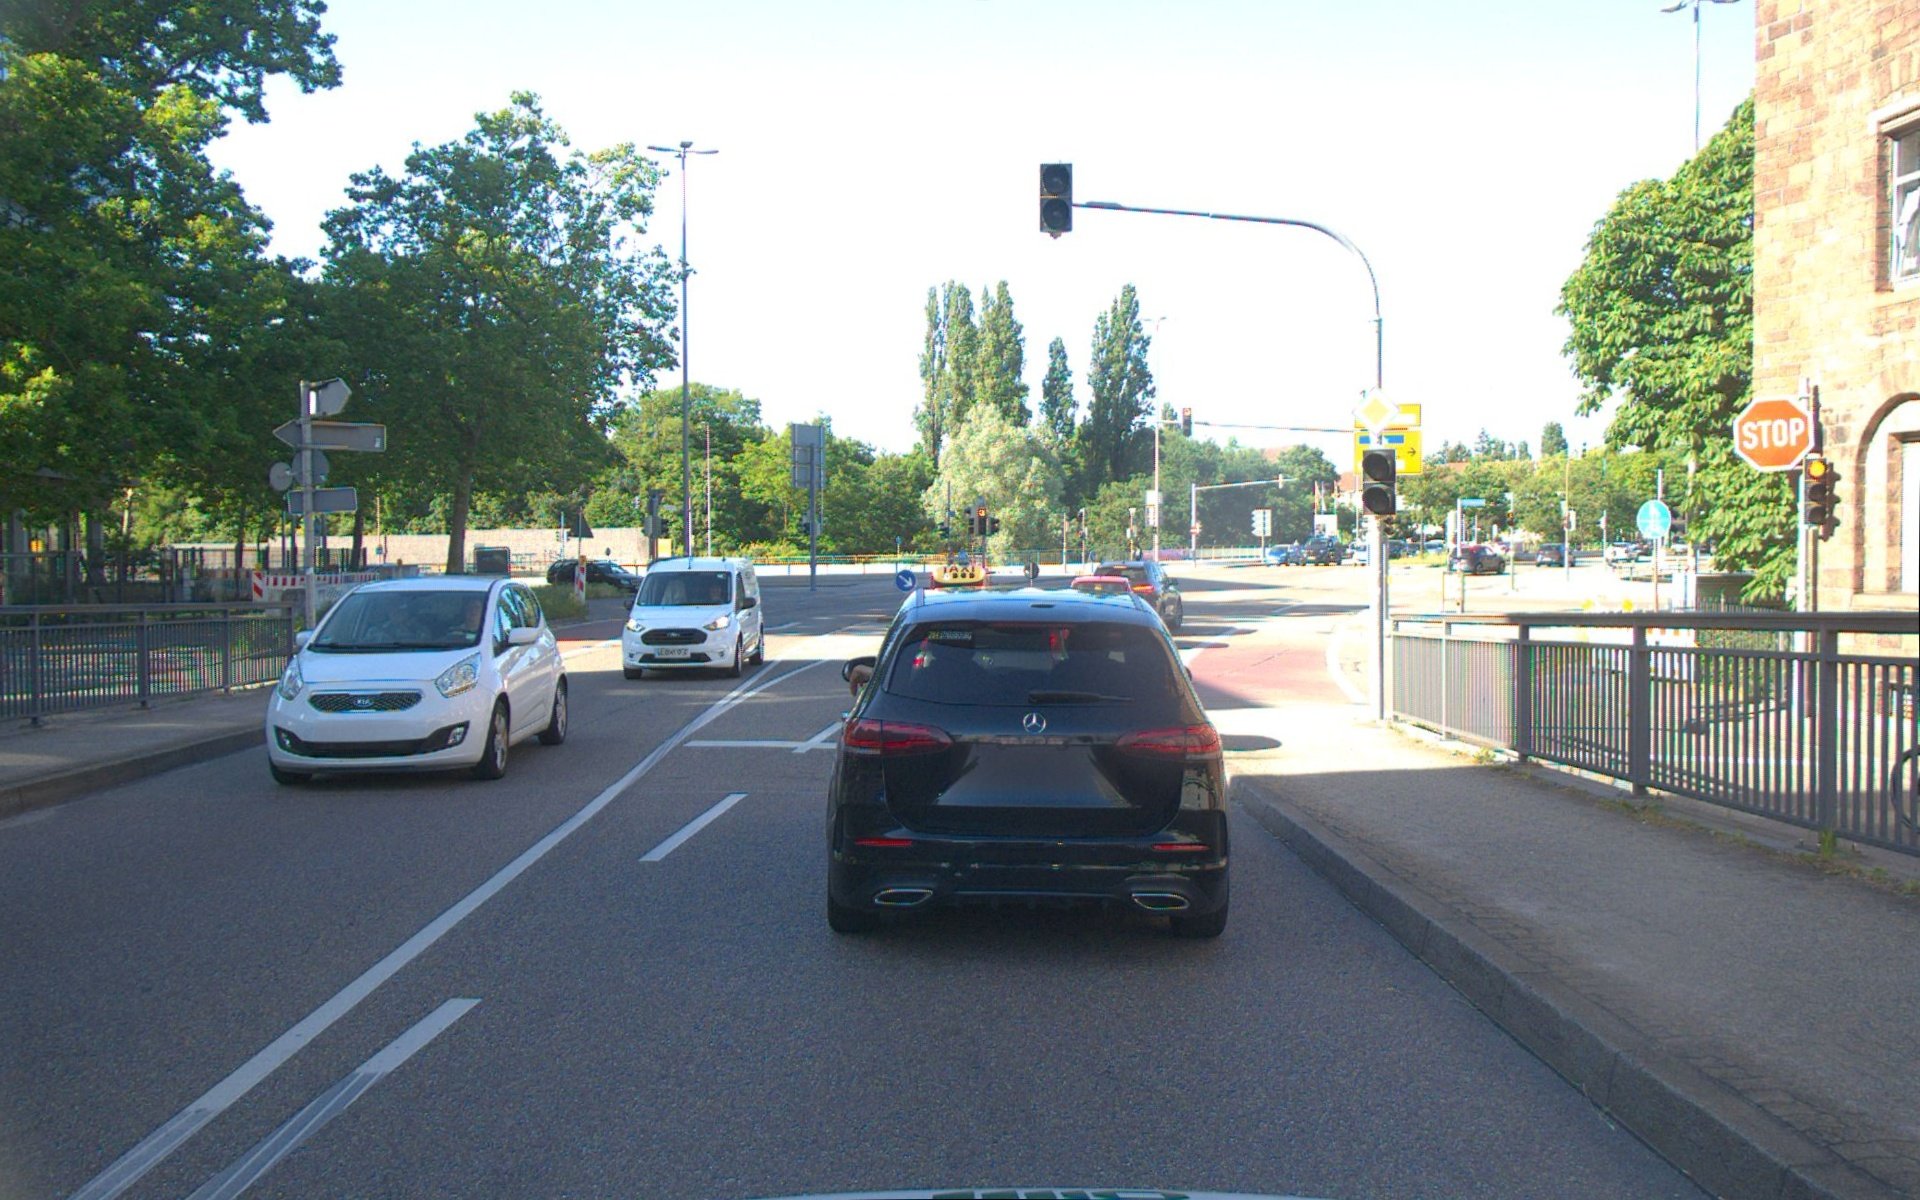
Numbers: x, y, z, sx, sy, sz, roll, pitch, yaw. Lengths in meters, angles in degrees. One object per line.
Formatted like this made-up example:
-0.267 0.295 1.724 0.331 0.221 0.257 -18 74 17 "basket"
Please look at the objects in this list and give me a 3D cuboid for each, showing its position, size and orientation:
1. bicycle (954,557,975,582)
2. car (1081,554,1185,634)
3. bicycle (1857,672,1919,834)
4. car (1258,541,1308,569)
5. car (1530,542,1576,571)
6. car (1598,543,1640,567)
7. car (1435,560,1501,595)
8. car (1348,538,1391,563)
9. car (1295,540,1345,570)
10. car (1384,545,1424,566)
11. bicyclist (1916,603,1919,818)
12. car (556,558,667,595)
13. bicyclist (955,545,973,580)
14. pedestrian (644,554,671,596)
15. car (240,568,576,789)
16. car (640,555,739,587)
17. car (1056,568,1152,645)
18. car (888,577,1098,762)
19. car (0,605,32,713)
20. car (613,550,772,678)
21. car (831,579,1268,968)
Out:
0.230 -1.550 83.885 0.672 1.223 2.330 -1 2 10 "bicycle"
4.410 -0.217 41.652 1.829 1.821 4.418 2 2 16 "car"
7.463 1.170 11.622 0.784 1.130 2.399 0 2 -7 "bicycle"
22.789 -3.163 116.602 1.956 1.897 4.843 1 2 30 "car"
38.149 -2.799 106.307 1.958 1.825 3.990 0 2 32 "car"
47.969 -3.252 120.293 1.960 1.668 3.986 0 2 35 "car"
27.982 -1.208 90.980 1.965 1.825 3.975 1 0 43 "car"
27.724 -3.344 111.918 1.786 1.610 4.096 0 2 30 "car"
24.558 -3.063 112.683 1.956 1.968 4.843 1 2 30 "car"
33.487 -3.327 124.800 1.956 1.478 3.992 2 1 30 "car"
7.463 0.739 11.617 0.784 1.734 1.084 0 1 -7 "bicyclist"
-14.415 -0.963 68.407 4.353 1.463 1.823 0 2 30 "car"
0.198 -1.894 83.733 0.672 1.730 1.199 -1 2 10 "bicyclist"
-11.769 -0.978 64.369 0.672 1.565 1.367 1 -2 5 "pedestrian"
-4.540 0.558 14.236 1.784 1.632 3.997 0 0 -4 "car"
-12.793 -1.383 78.217 4.349 1.463 1.825 0 2 26 "car"
3.205 0.090 36.172 1.781 1.505 4.004 2 2 9 "car"
0.299 0.571 16.232 1.783 1.515 4.001 -1 2 0 "car"
-14.706 0.928 22.388 1.783 1.529 4.451 -1 2 -1 "car"
-4.208 0.132 26.761 1.773 1.832 5.120 -1 2 -1 "car"
0.326 0.685 8.511 1.715 1.520 3.999 0 0 -1 "car"
